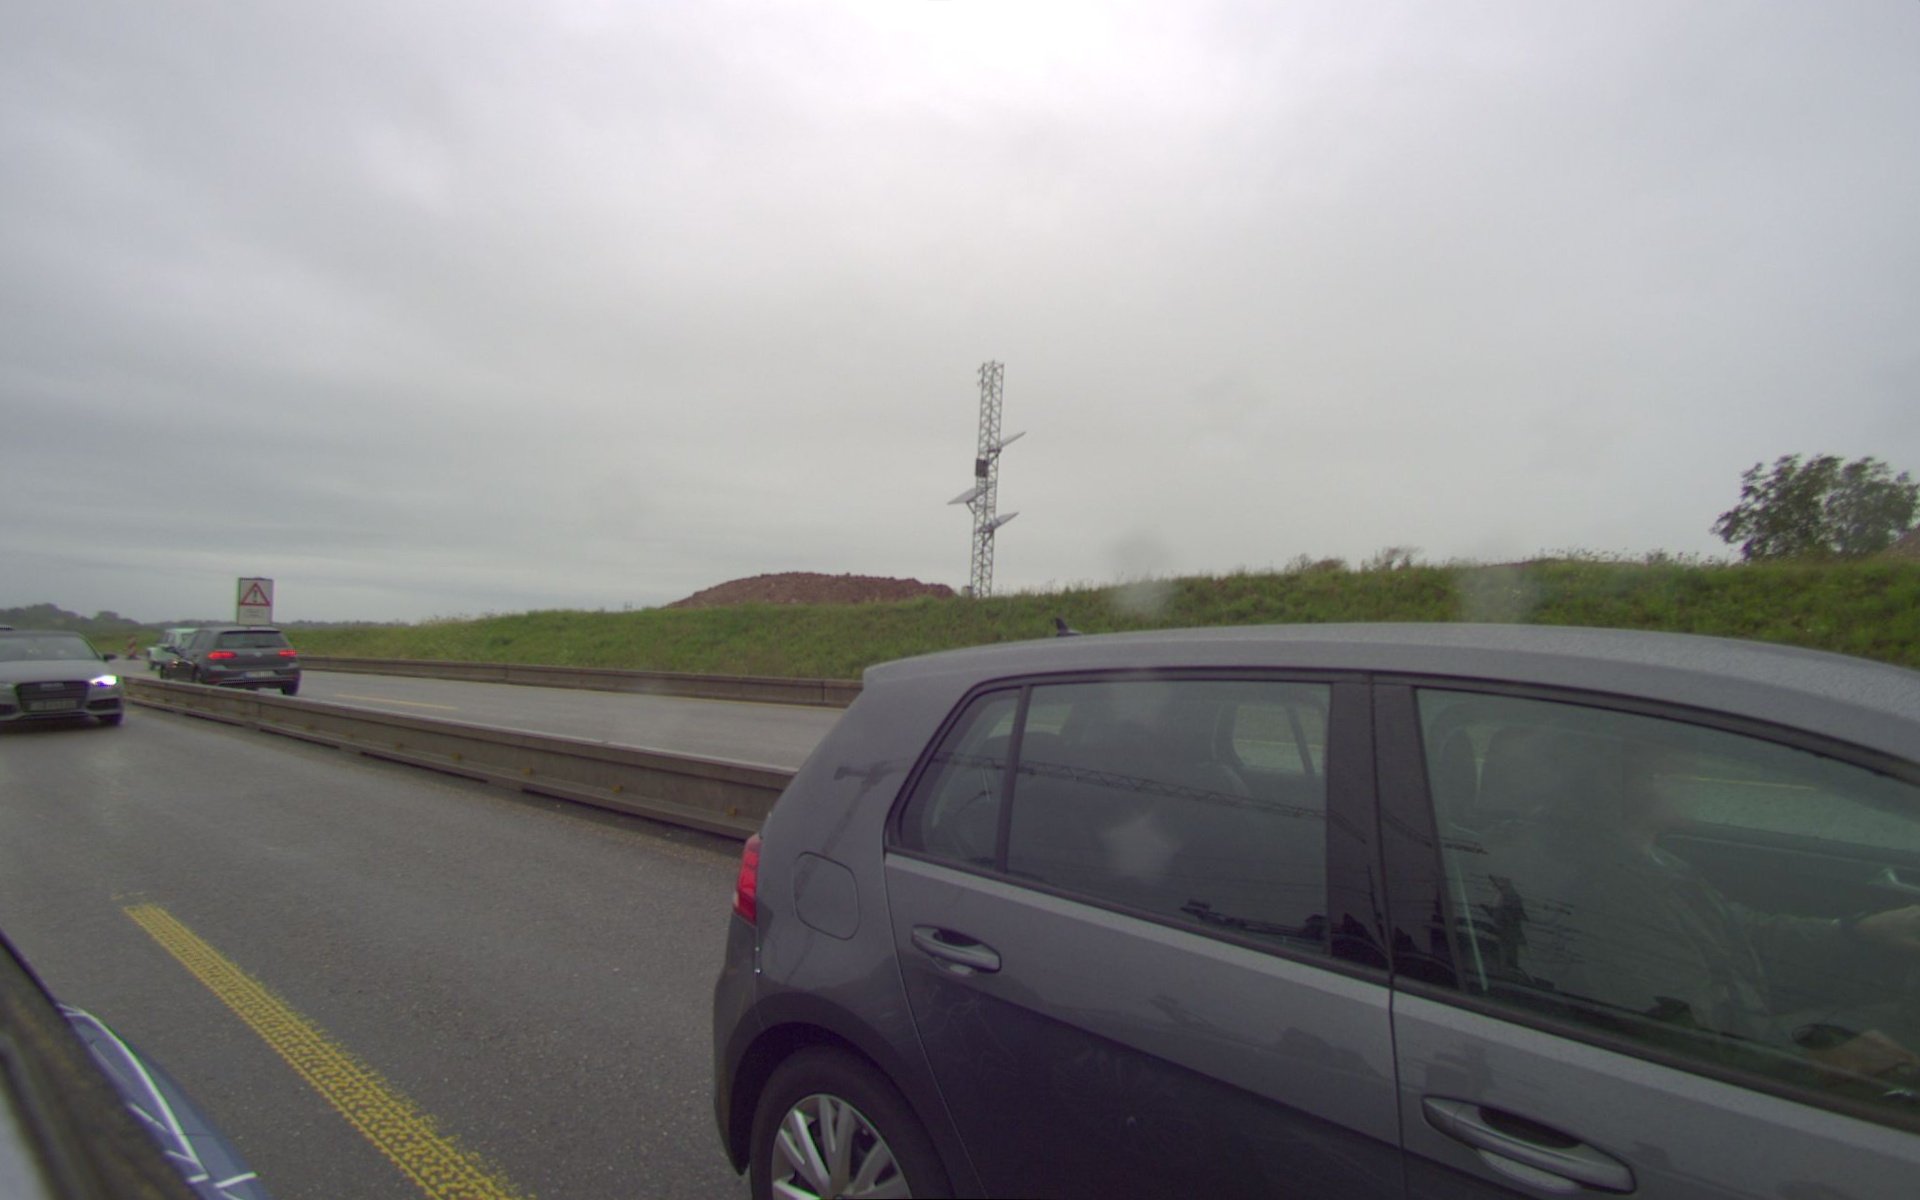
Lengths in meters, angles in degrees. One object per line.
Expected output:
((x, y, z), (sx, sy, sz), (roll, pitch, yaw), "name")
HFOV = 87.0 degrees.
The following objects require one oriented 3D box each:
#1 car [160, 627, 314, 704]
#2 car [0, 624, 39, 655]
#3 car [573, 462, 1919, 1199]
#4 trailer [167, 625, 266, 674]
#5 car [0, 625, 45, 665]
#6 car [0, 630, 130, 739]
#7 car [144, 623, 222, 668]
((-15.271, 1.301, 21.317), (3.705, 1.437, 1.770), (-1, -1, 40), "car")
((-53.016, 2.159, 56.469), (4.748, 1.638, 1.803), (-1, -1, 40), "car")
((1.294, 0.665, 1.568), (4.365, 1.518, 1.598), (-1, -3, 40), "car")
((-24.249, 1.569, 32.948), (4.158, 1.475, 1.614), (-1, -3, 40), "trailer")
((-40.796, 1.909, 43.241), (4.306, 1.605, 1.923), (-1, -1, 40), "car")
((-14.069, 1.185, 15.236), (4.086, 1.393, 1.781), (-1, -1, 41), "car")
((-27.192, 1.574, 35.388), (3.714, 1.475, 1.344), (-1, -3, 40), "car")
